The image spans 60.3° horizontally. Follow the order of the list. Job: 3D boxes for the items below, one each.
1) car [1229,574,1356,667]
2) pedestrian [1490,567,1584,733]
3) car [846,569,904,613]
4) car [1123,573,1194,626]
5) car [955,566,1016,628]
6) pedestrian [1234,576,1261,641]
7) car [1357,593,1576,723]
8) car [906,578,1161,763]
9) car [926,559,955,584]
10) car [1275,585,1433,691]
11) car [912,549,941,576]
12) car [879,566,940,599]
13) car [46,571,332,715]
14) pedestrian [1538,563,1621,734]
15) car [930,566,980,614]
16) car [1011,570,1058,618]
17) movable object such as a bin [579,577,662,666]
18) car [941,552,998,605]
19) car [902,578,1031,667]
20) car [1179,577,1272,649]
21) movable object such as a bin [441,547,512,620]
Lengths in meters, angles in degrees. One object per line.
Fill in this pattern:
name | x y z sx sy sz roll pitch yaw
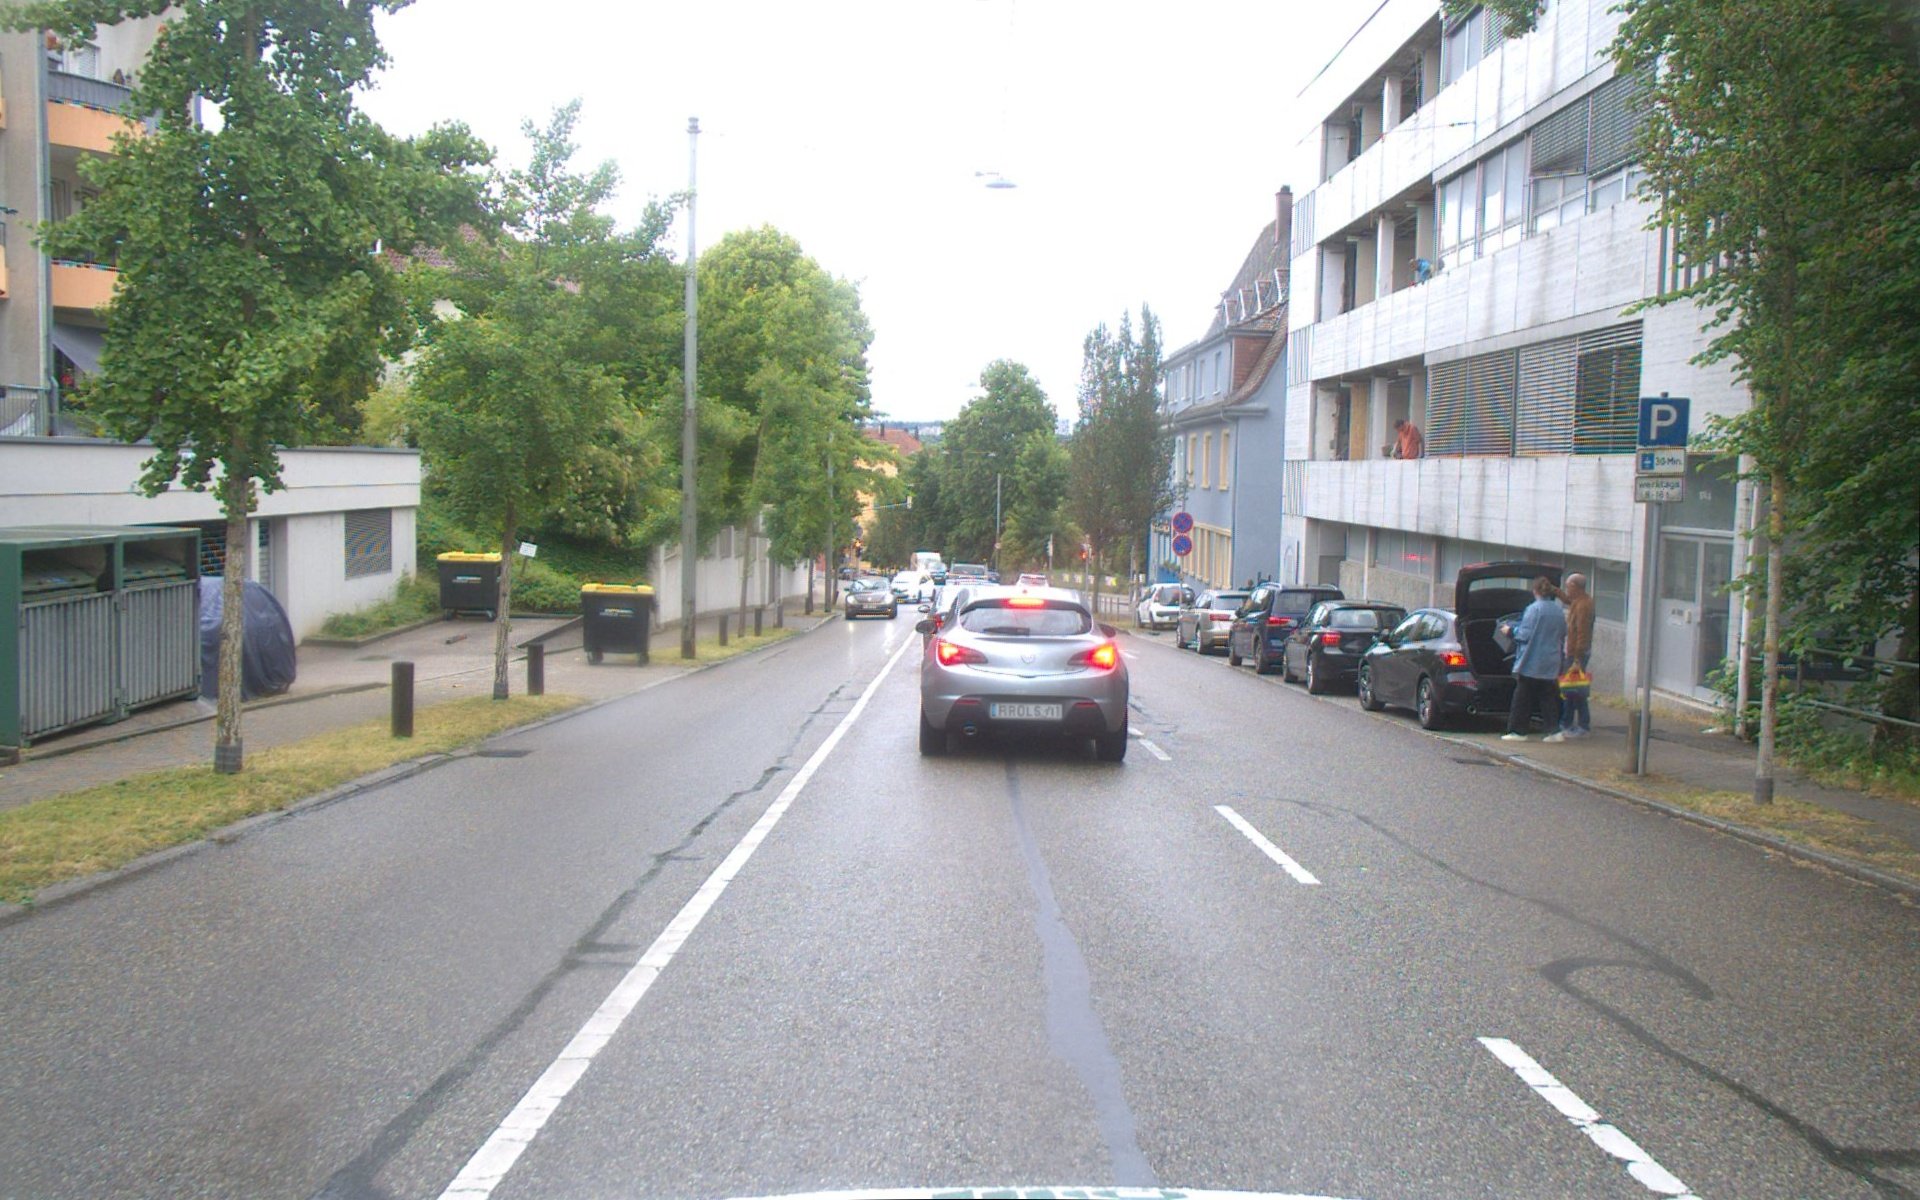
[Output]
car | 6.246 0.336 31.482 1.651 1.598 4.001 0 2 1
pedestrian | 6.309 0.533 18.113 0.747 1.753 0.737 -1 2 -1
car | -3.060 -0.344 60.192 1.812 1.494 4.088 -2 1 1
car | 6.424 -0.040 53.898 1.867 1.598 4.001 0 2 1
car | 0.829 -0.133 55.826 1.733 1.811 3.976 4 2 -2
pedestrian | 8.165 0.246 47.054 0.632 1.815 0.542 1 1 0
car | 6.308 0.662 21.039 1.473 1.460 3.999 0 1 -1
car | 0.541 0.555 15.452 1.907 1.456 3.881 1 1 -4
car | -1.381 -2.036 118.399 1.953 1.562 4.310 4 2 0
car | 6.277 0.545 26.773 1.646 1.489 4.001 0 2 1
car | -2.534 -2.867 125.866 1.953 1.815 4.001 4 2 0
car | -2.503 -0.907 83.520 1.784 1.504 3.865 -2 2 19
car | -9.135 0.436 19.969 1.707 1.482 3.882 -2 1 -3
pedestrian | 6.997 0.523 18.677 0.654 1.868 0.684 0 2 44
car | -0.230 -0.415 64.062 1.719 1.679 3.999 4 1 -2
car | 3.609 -0.334 80.825 1.953 2.071 4.736 4 2 0
movable object such as a bin | -5.677 0.353 27.663 1.246 1.411 0.489 2 2 -3
car | 0.408 -0.978 72.256 2.287 2.071 4.736 4 2 0
car | 0.037 0.336 28.075 1.763 1.346 3.996 2 0 -5
car | 6.202 0.251 38.969 1.551 1.519 4.291 0 2 1
movable object such as a bin | -9.721 -0.340 33.275 1.246 1.411 0.489 2 2 -3
